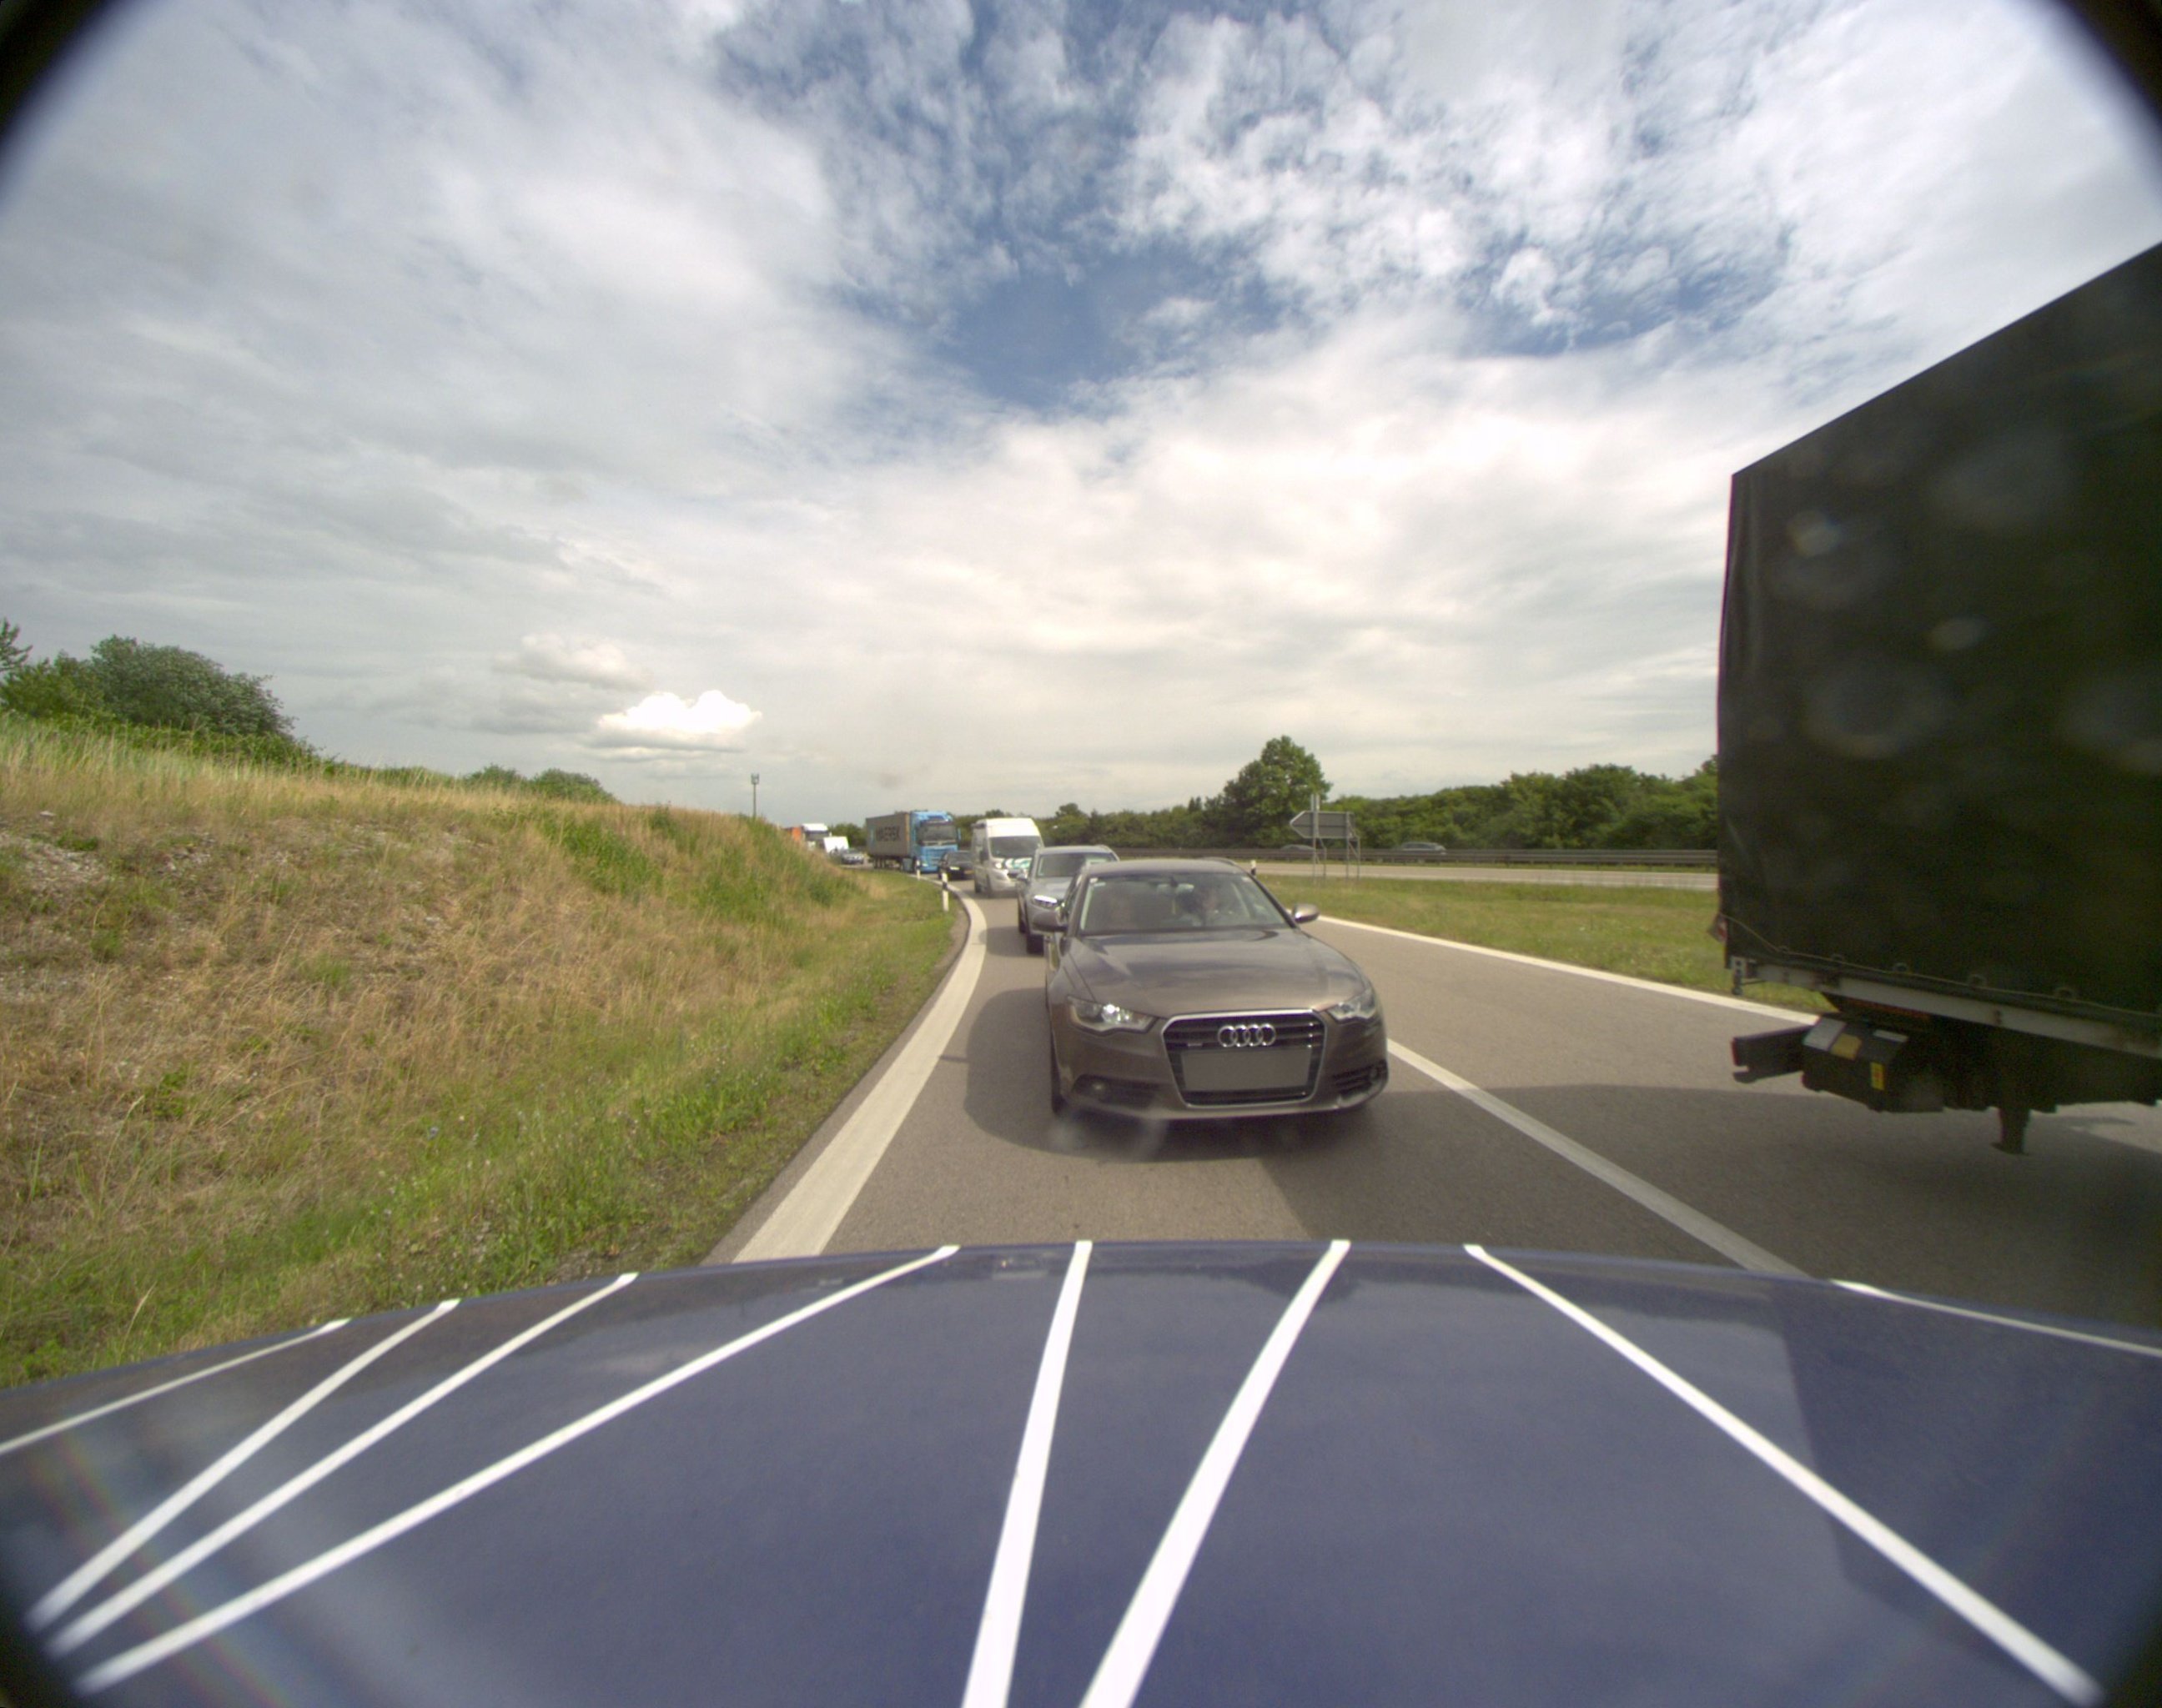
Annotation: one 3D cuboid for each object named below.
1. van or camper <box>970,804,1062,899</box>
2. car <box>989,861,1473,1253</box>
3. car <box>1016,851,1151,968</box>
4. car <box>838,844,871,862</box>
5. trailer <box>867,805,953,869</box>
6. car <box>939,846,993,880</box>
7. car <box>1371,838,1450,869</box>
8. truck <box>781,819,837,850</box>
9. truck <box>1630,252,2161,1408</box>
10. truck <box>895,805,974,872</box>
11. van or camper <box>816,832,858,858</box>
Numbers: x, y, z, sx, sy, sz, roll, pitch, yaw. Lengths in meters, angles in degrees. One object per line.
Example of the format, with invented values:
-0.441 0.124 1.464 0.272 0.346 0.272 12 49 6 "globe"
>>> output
-2.422 -0.097 26.697 2.400 2.892 5.714 -2 1 -12 "van or camper"
0.619 0.877 5.461 1.999 1.505 4.537 -2 1 -1 "car"
-0.132 0.780 12.871 1.843 1.587 4.171 -1 1 -6 "car"
-20.395 -0.104 68.405 2.003 1.521 3.990 -2 2 -29 "car"
-12.837 -1.125 55.902 3.280 4.137 11.991 -3 1 -26 "trailer"
-5.961 0.427 39.018 2.002 1.609 3.992 -1 1 -19 "car"
20.831 -0.026 48.202 1.847 1.862 4.196 -3 1 -34 "car"
-30.439 -2.070 84.692 3.131 3.220 11.131 -2 1 -34 "truck"
4.253 -0.063 0.279 2.567 3.149 7.466 -2 1 -1 "truck"
-9.739 -0.946 49.832 3.184 4.049 6.632 -3 1 -27 "truck"
-23.780 -0.921 73.761 2.557 2.200 5.693 -3 5 -31 "van or camper"
